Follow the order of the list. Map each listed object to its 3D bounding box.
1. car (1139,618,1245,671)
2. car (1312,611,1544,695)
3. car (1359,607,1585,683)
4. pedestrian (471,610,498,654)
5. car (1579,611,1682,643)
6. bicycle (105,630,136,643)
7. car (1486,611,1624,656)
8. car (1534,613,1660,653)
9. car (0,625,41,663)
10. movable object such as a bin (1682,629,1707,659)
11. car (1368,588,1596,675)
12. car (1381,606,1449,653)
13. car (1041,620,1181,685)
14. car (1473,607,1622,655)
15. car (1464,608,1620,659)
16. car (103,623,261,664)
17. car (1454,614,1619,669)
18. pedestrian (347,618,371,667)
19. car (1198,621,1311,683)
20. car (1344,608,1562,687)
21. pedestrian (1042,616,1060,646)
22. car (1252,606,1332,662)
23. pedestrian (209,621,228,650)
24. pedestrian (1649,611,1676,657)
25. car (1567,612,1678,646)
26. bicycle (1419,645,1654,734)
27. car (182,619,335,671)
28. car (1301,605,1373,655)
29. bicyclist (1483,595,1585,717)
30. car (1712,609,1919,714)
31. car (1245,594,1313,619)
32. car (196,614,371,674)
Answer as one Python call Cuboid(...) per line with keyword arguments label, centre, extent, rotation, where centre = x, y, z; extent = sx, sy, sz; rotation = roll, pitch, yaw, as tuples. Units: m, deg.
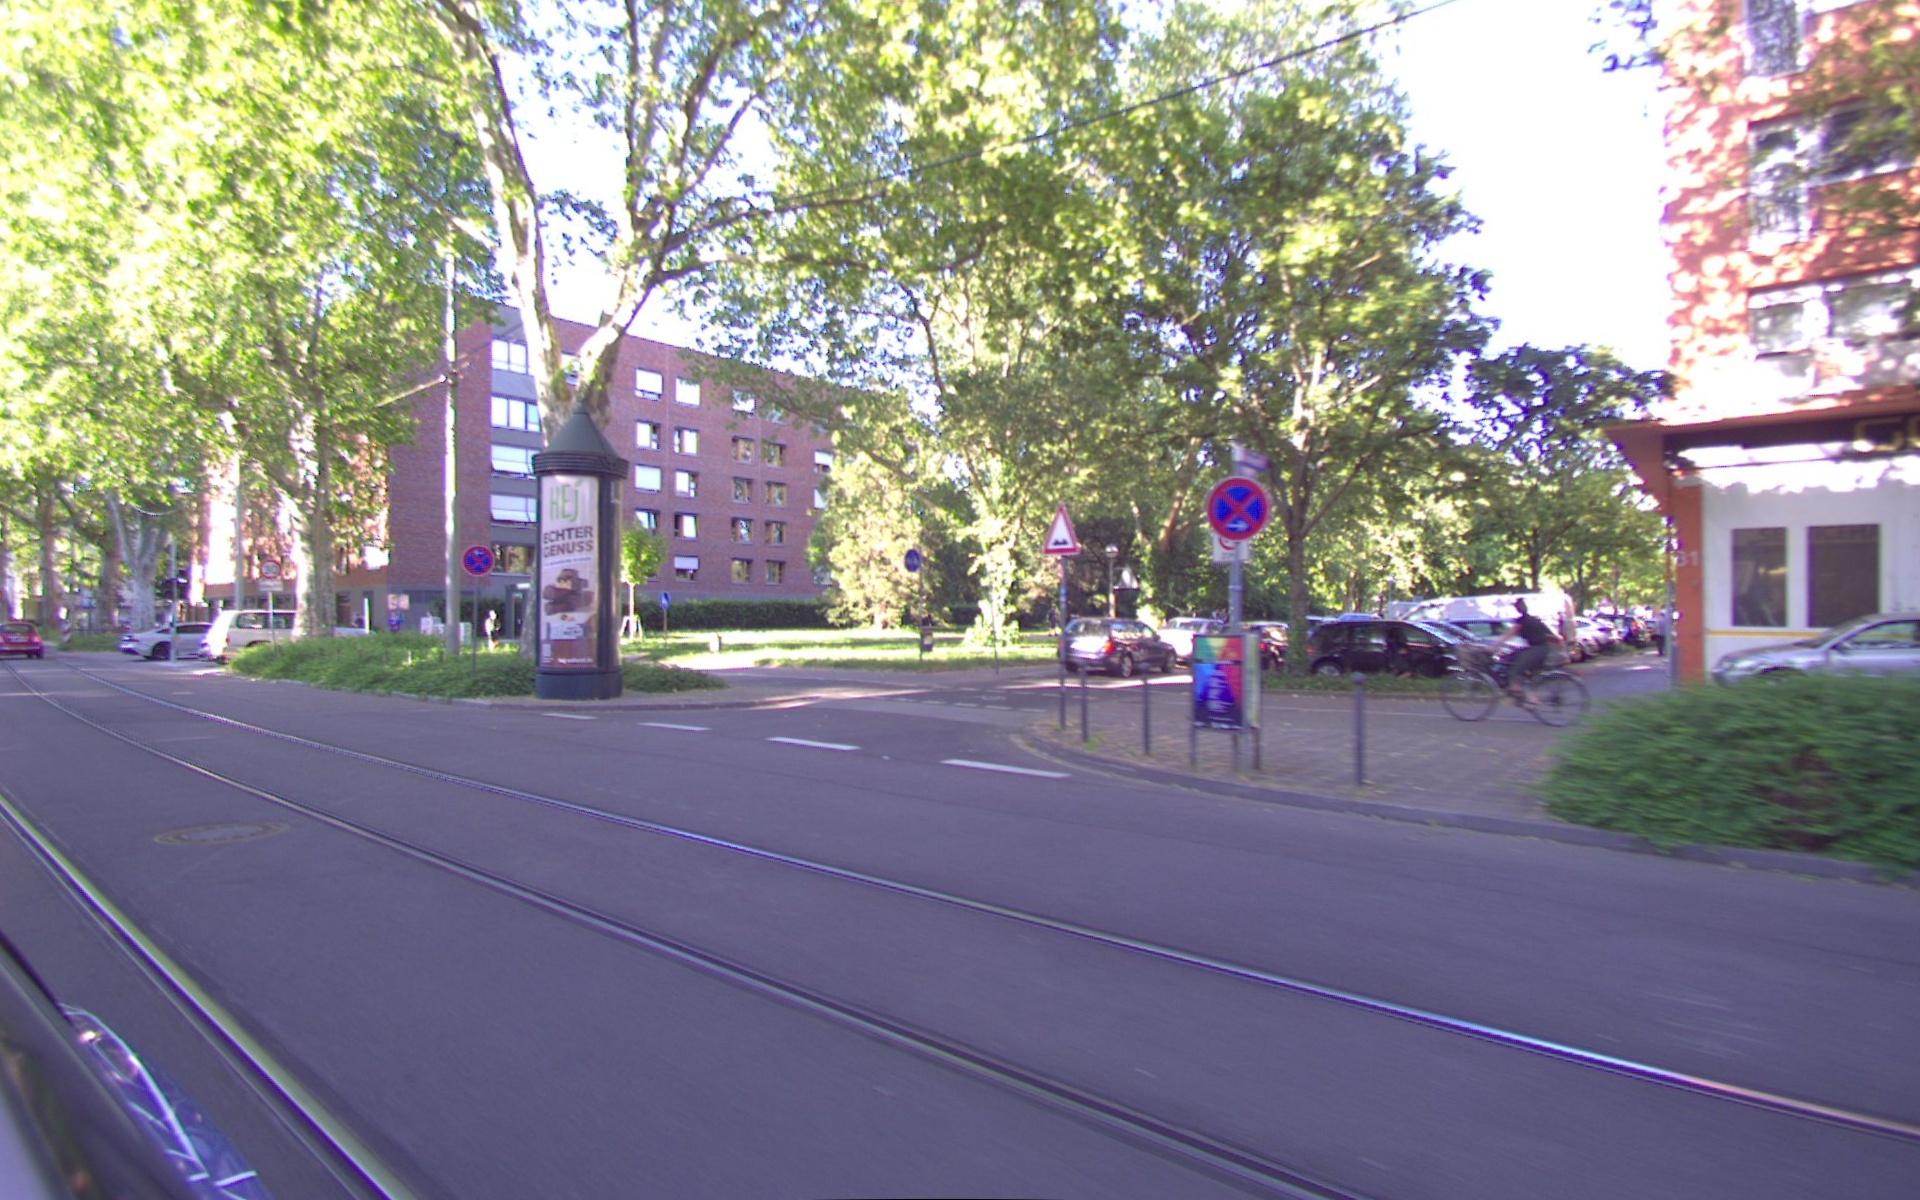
Cuboid(label="car", centre=(7.274, 1.316, 31.409), extent=(1.819, 1.461, 4.432), rotation=(-1, -1, 33))
Cuboid(label="car", centre=(9.227, 0.983, 20.026), extent=(3.986, 1.504, 1.799), rotation=(-1, -1, 31))
Cuboid(label="car", centre=(11.904, 0.994, 23.624), extent=(4.543, 1.630, 1.978), rotation=(-1, -1, 32))
Cuboid(label="pedestrian", centre=(-18.496, 1.223, 39.334), extent=(0.779, 1.686, 0.702), rotation=(-1, -1, 41))
Cuboid(label="car", centre=(35.564, 1.432, 53.756), extent=(4.472, 1.630, 1.928), rotation=(-1, -1, 34))
Cuboid(label="bicycle", centre=(-76.857, 3.333, 92.688), extent=(2.066, 1.198, 0.883), rotation=(0, -1, -32))
Cuboid(label="car", centre=(22.870, 1.243, 38.928), extent=(4.472, 1.630, 1.928), rotation=(-1, -1, 34))
Cuboid(label="car", centre=(27.393, 1.412, 43.616), extent=(4.472, 1.630, 1.928), rotation=(-1, -1, 34))
Cuboid(label="car", centre=(-38.602, 1.749, 41.044), extent=(3.472, 1.455, 1.643), rotation=(-1, -1, 42))
Cuboid(label="movable object such as a bin", centre=(25.633, 1.528, 35.337), extent=(0.683, 1.033, 0.619), rotation=(-1, -1, 37))
Cuboid(label="car", centre=(13.283, 0.772, 25.921), extent=(4.913, 2.019, 1.975), rotation=(-1, -1, 38))
Cuboid(label="car", centre=(22.867, 1.430, 50.745), extent=(2.040, 2.214, 4.685), rotation=(-1, -1, 38))
Cuboid(label="car", centre=(4.086, 1.314, 26.752), extent=(1.856, 1.500, 4.487), rotation=(-1, -1, 35))
Cuboid(label="car", centre=(20.893, 1.073, 36.068), extent=(4.472, 1.630, 1.928), rotation=(-1, -1, 34))
Cuboid(label="car", centre=(19.719, 1.106, 34.337), extent=(4.472, 1.630, 1.928), rotation=(-1, -1, 34))
Cuboid(label="car", centre=(-31.038, 1.704, 40.505), extent=(1.953, 1.471, 4.716), rotation=(-1, -1, 40))
Cuboid(label="car", centre=(18.524, 1.301, 32.591), extent=(4.472, 1.630, 1.928), rotation=(-1, -1, 34))
Cuboid(label="pedestrian", centre=(-22.869, 1.590, 38.500), extent=(0.636, 1.823, 0.752), rotation=(0, -1, -43))
Cuboid(label="car", centre=(8.083, 1.344, 27.555), extent=(1.740, 1.459, 3.951), rotation=(1, 0, 36))
Cuboid(label="car", centre=(10.580, 0.961, 21.780), extent=(3.990, 1.537, 1.977), rotation=(-1, -1, 34))
Cuboid(label="pedestrian", centre=(5.176, 1.765, 57.470), extent=(0.766, 1.686, 0.714), rotation=(0, -1, -32))
Cuboid(label="car", centre=(12.822, 1.254, 38.992), extent=(1.994, 2.029, 3.955), rotation=(-1, -1, 33))
Cuboid(label="pedestrian", centre=(-45.139, 2.152, 61.637), extent=(0.972, 1.757, 0.755), rotation=(-1, -1, 41))
Cuboid(label="pedestrian", centre=(25.947, 1.244, 37.376), extent=(0.777, 1.686, 0.703), rotation=(-1, -1, 35))
Cuboid(label="car", centre=(32.748, 1.424, 50.121), extent=(4.472, 1.630, 1.928), rotation=(-1, -1, 34))
Cuboid(label="bicycle", centre=(7.465, 1.123, 13.230), extent=(2.574, 1.006, 0.960), rotation=(-1, -1, 32))
Cuboid(label="car", centre=(-24.631, 1.538, 35.633), extent=(1.901, 1.659, 4.098), rotation=(-1, -1, 40))
Cuboid(label="car", centre=(16.577, 1.261, 44.411), extent=(1.994, 2.029, 4.692), rotation=(-1, -1, 33))
Cuboid(label="bicyclist", centre=(7.491, 0.703, 13.224), extent=(1.113, 1.518, 0.794), rotation=(-1, -1, 31))
Cuboid(label="car", centre=(13.505, 0.849, 14.774), extent=(3.891, 1.418, 1.927), rotation=(-1, -1, 42))
Cuboid(label="car", centre=(22.016, 0.468, 69.931), extent=(1.868, 1.630, 4.109), rotation=(0, -1, -44))
Cuboid(label="car", centre=(-22.467, 1.401, 33.763), extent=(1.937, 1.848, 4.523), rotation=(-1, -1, 41))
